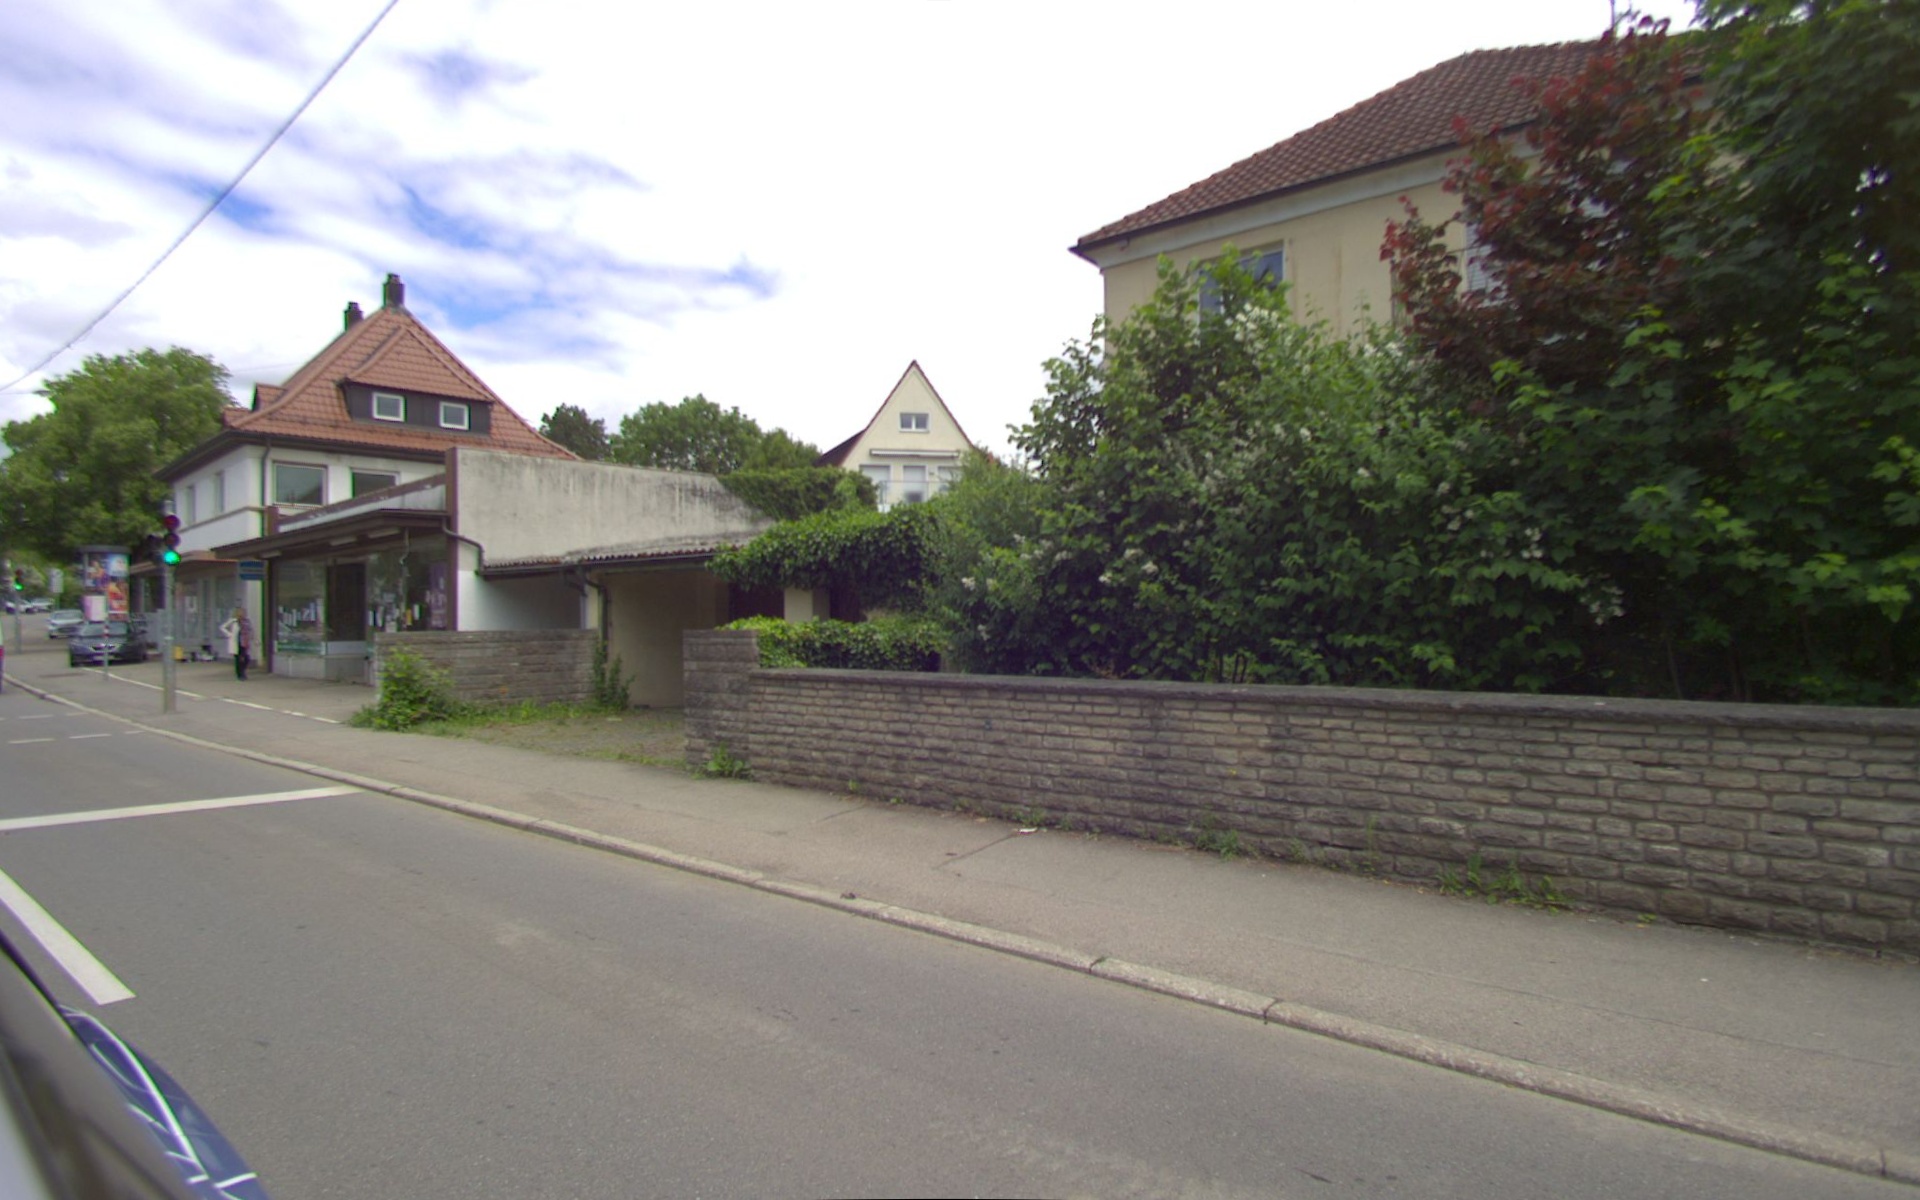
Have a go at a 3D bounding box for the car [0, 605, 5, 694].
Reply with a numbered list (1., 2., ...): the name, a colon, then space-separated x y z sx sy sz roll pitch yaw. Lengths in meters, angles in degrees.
1. car: -23.400 1.072 23.028 4.829 1.930 1.861 0 -2 40

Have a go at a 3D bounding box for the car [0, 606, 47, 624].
1. car: -97.751 1.513 105.245 3.935 1.752 2.004 -2 1 -37

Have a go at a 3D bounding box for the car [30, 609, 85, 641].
1. car: -51.419 1.389 57.640 3.997 1.690 1.749 0 1 40

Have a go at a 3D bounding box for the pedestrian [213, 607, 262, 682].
1. pedestrian: -17.433 1.050 24.414 0.604 1.757 0.811 -1 1 41

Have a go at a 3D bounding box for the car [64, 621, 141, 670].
1. car: -27.778 1.426 32.880 1.796 1.361 3.398 -2 1 -39
